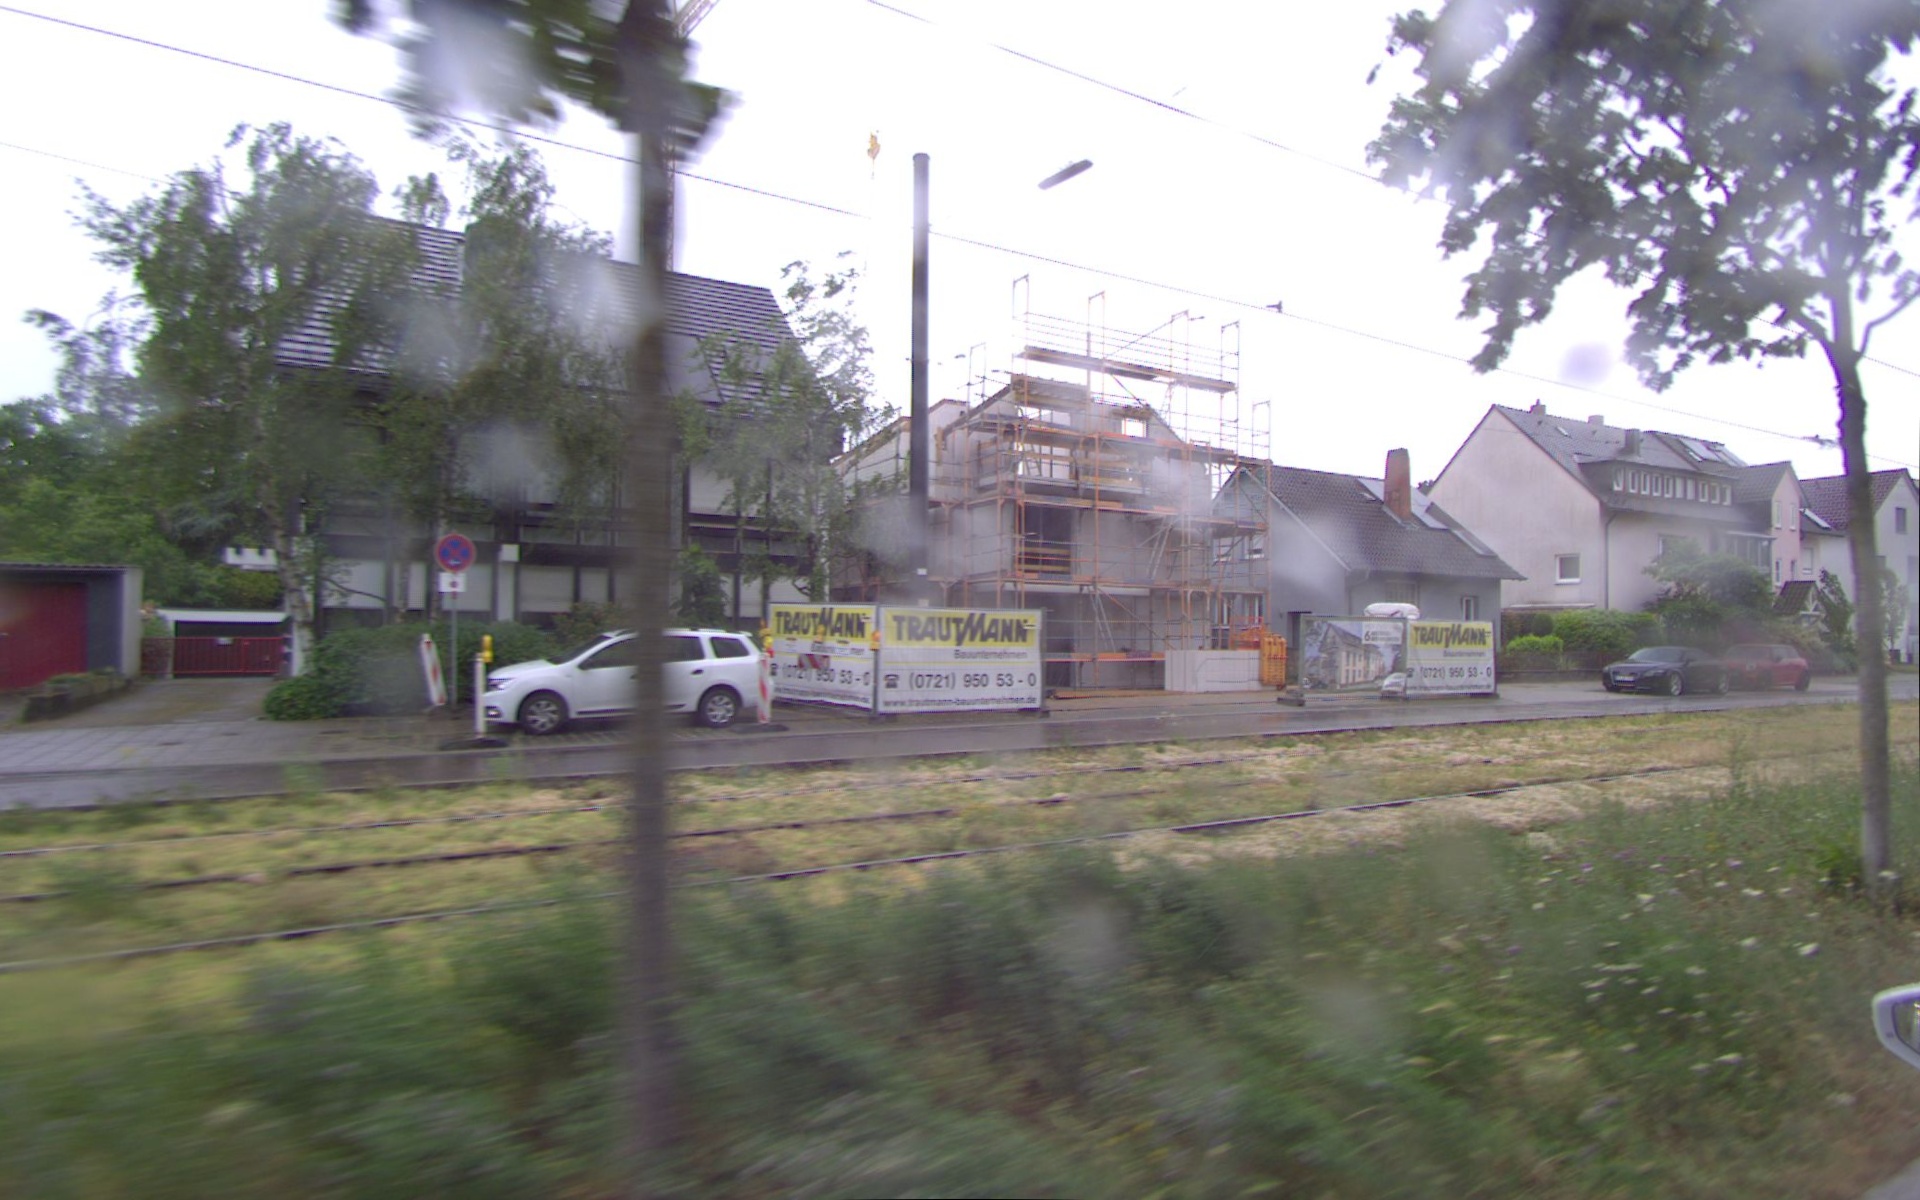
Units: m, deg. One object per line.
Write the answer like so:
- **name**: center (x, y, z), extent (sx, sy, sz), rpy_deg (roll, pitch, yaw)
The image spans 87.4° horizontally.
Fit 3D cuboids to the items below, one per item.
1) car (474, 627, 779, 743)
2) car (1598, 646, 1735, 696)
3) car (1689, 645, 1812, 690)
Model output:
- **car**: center (-5.245, 1.256, 15.929), extent (4.367, 1.563, 1.703), rpy_deg (1, 0, -28)
- **car**: center (20.485, 2.005, 29.084), extent (4.022, 1.261, 1.656), rpy_deg (1, 0, -29)
- **car**: center (24.922, 2.093, 31.648), extent (3.807, 1.261, 1.667), rpy_deg (1, 0, -29)
